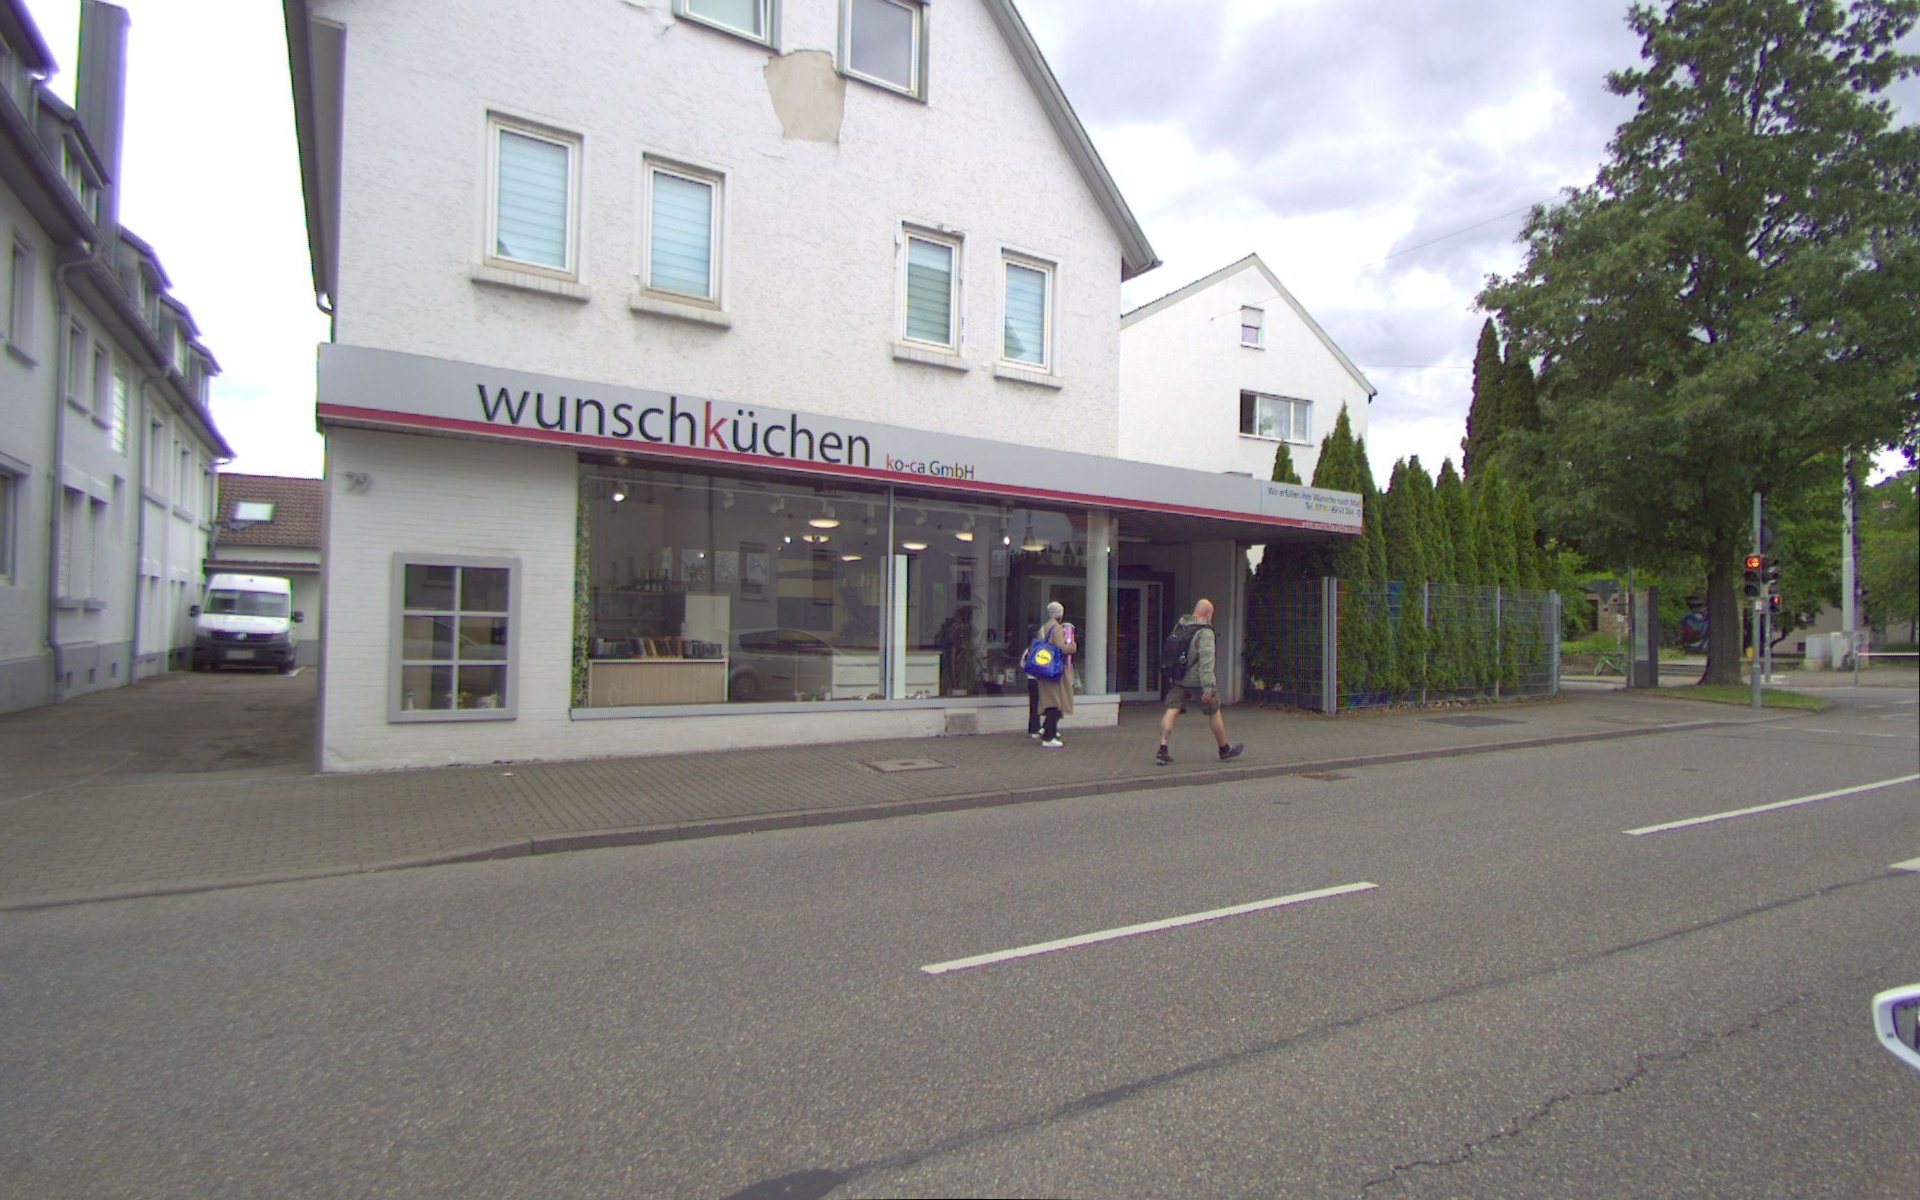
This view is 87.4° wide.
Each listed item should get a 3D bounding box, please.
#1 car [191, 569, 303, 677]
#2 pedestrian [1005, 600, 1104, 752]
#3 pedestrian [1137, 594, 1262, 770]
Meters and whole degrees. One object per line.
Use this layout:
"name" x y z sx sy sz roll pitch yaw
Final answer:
"car" -19.137 0.589 27.211 1.938 2.541 5.943 5 -2 -32
"pedestrian" 1.079 0.850 11.557 0.784 1.638 0.747 1 2 -31
"pedestrian" 2.557 0.841 10.752 1.008 1.767 0.747 1 1 -31
